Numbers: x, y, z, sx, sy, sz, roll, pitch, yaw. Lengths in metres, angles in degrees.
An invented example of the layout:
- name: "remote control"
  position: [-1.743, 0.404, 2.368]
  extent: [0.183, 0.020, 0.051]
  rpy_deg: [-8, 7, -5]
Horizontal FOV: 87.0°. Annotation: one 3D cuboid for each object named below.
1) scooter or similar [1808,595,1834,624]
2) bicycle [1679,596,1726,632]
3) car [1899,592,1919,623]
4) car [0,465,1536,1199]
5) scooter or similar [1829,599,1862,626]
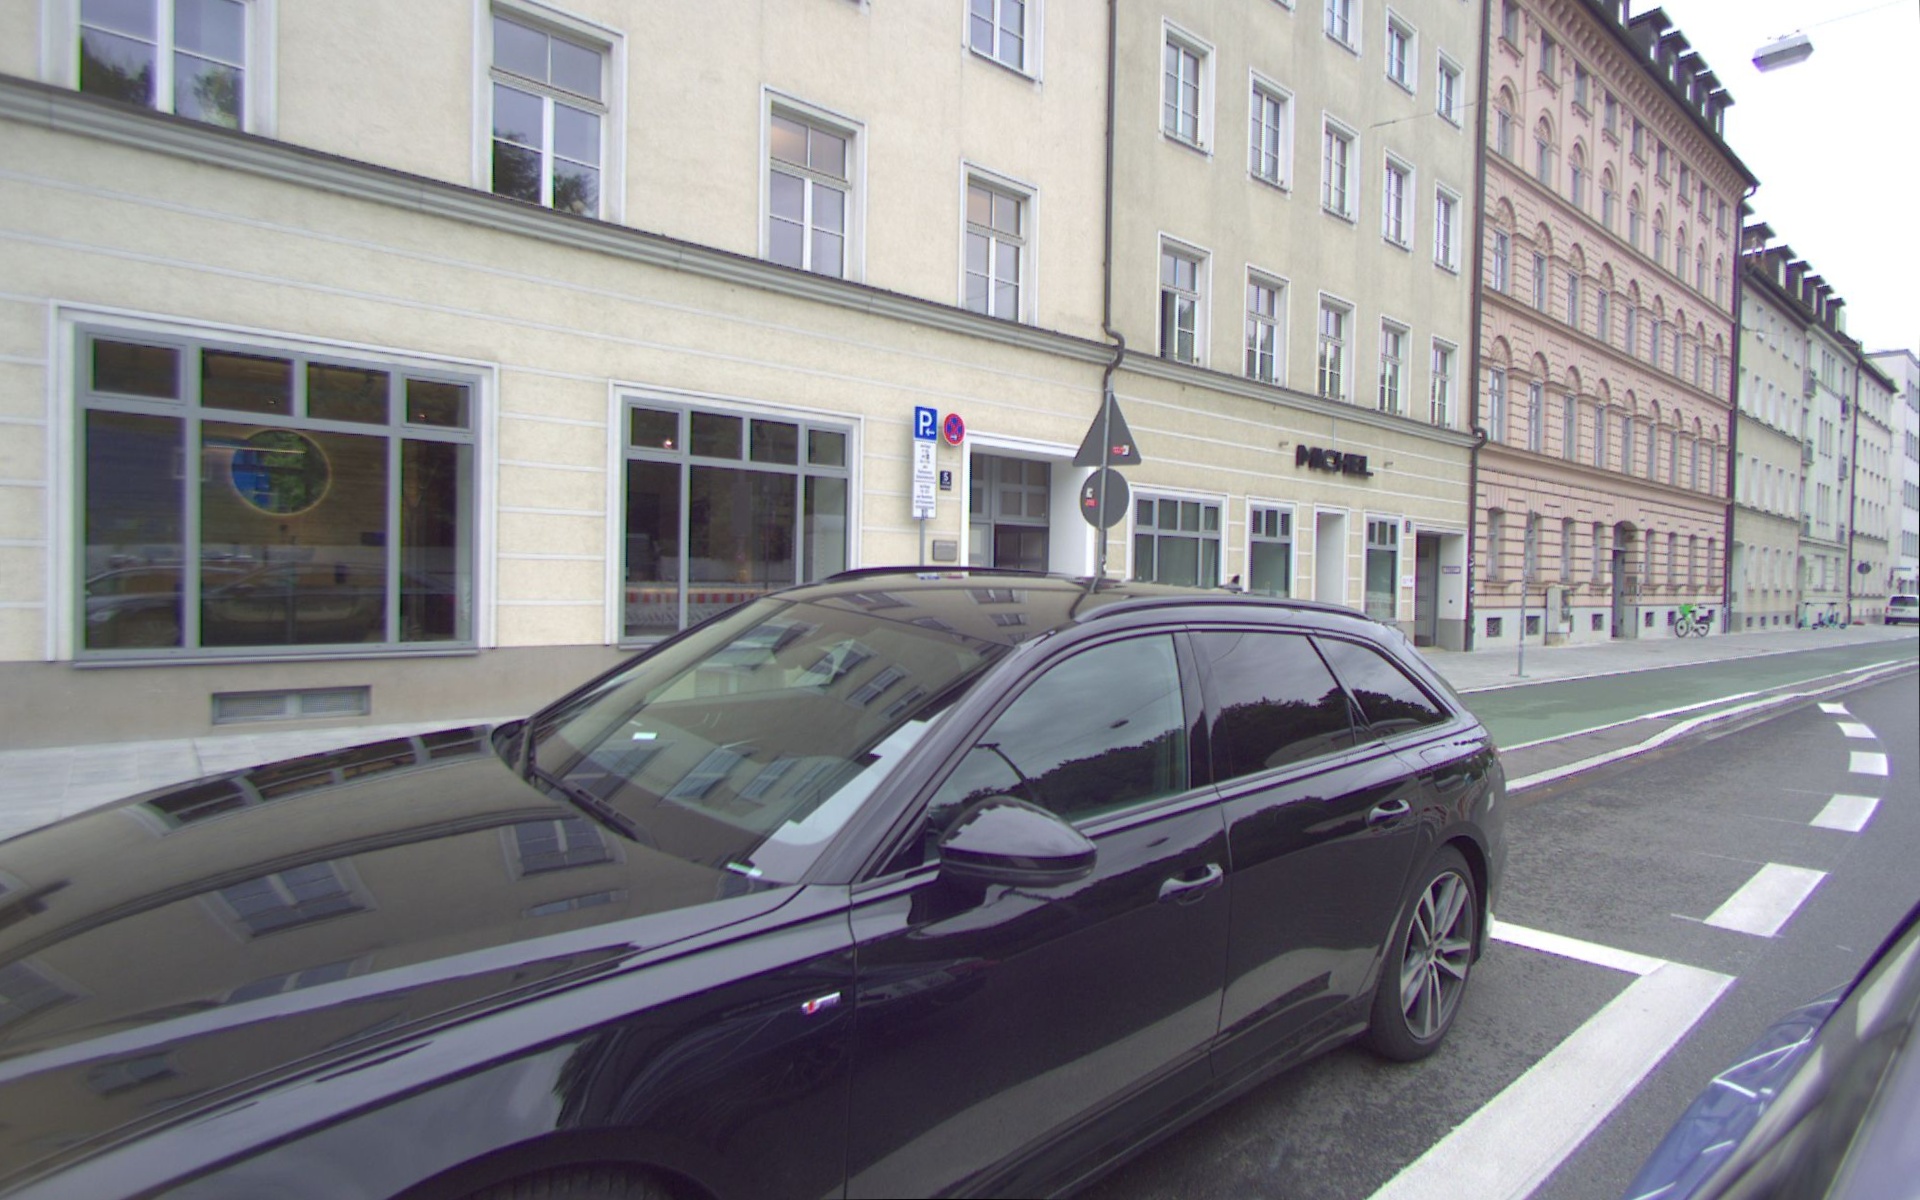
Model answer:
- name: "scooter or similar"
  position: [38.887, 0.428, 45.693]
  extent: [1.096, 1.246, 0.248]
  rpy_deg: [1, 2, -14]
- name: "bicycle"
  position: [24.907, 0.473, 33.940]
  extent: [1.695, 1.188, 0.428]
  rpy_deg: [1, 1, -23]
- name: "car"
  position: [56.493, 0.445, 59.207]
  extent: [4.356, 1.771, 1.737]
  rpy_deg: [0, 2, -40]
- name: "car"
  position: [-0.311, 0.613, 2.592]
  extent: [4.607, 1.498, 1.804]
  rpy_deg: [0, 1, -43]
- name: "scooter or similar"
  position: [42.614, 0.612, 48.702]
  extent: [1.105, 1.246, 0.246]
  rpy_deg: [3, 3, 18]
